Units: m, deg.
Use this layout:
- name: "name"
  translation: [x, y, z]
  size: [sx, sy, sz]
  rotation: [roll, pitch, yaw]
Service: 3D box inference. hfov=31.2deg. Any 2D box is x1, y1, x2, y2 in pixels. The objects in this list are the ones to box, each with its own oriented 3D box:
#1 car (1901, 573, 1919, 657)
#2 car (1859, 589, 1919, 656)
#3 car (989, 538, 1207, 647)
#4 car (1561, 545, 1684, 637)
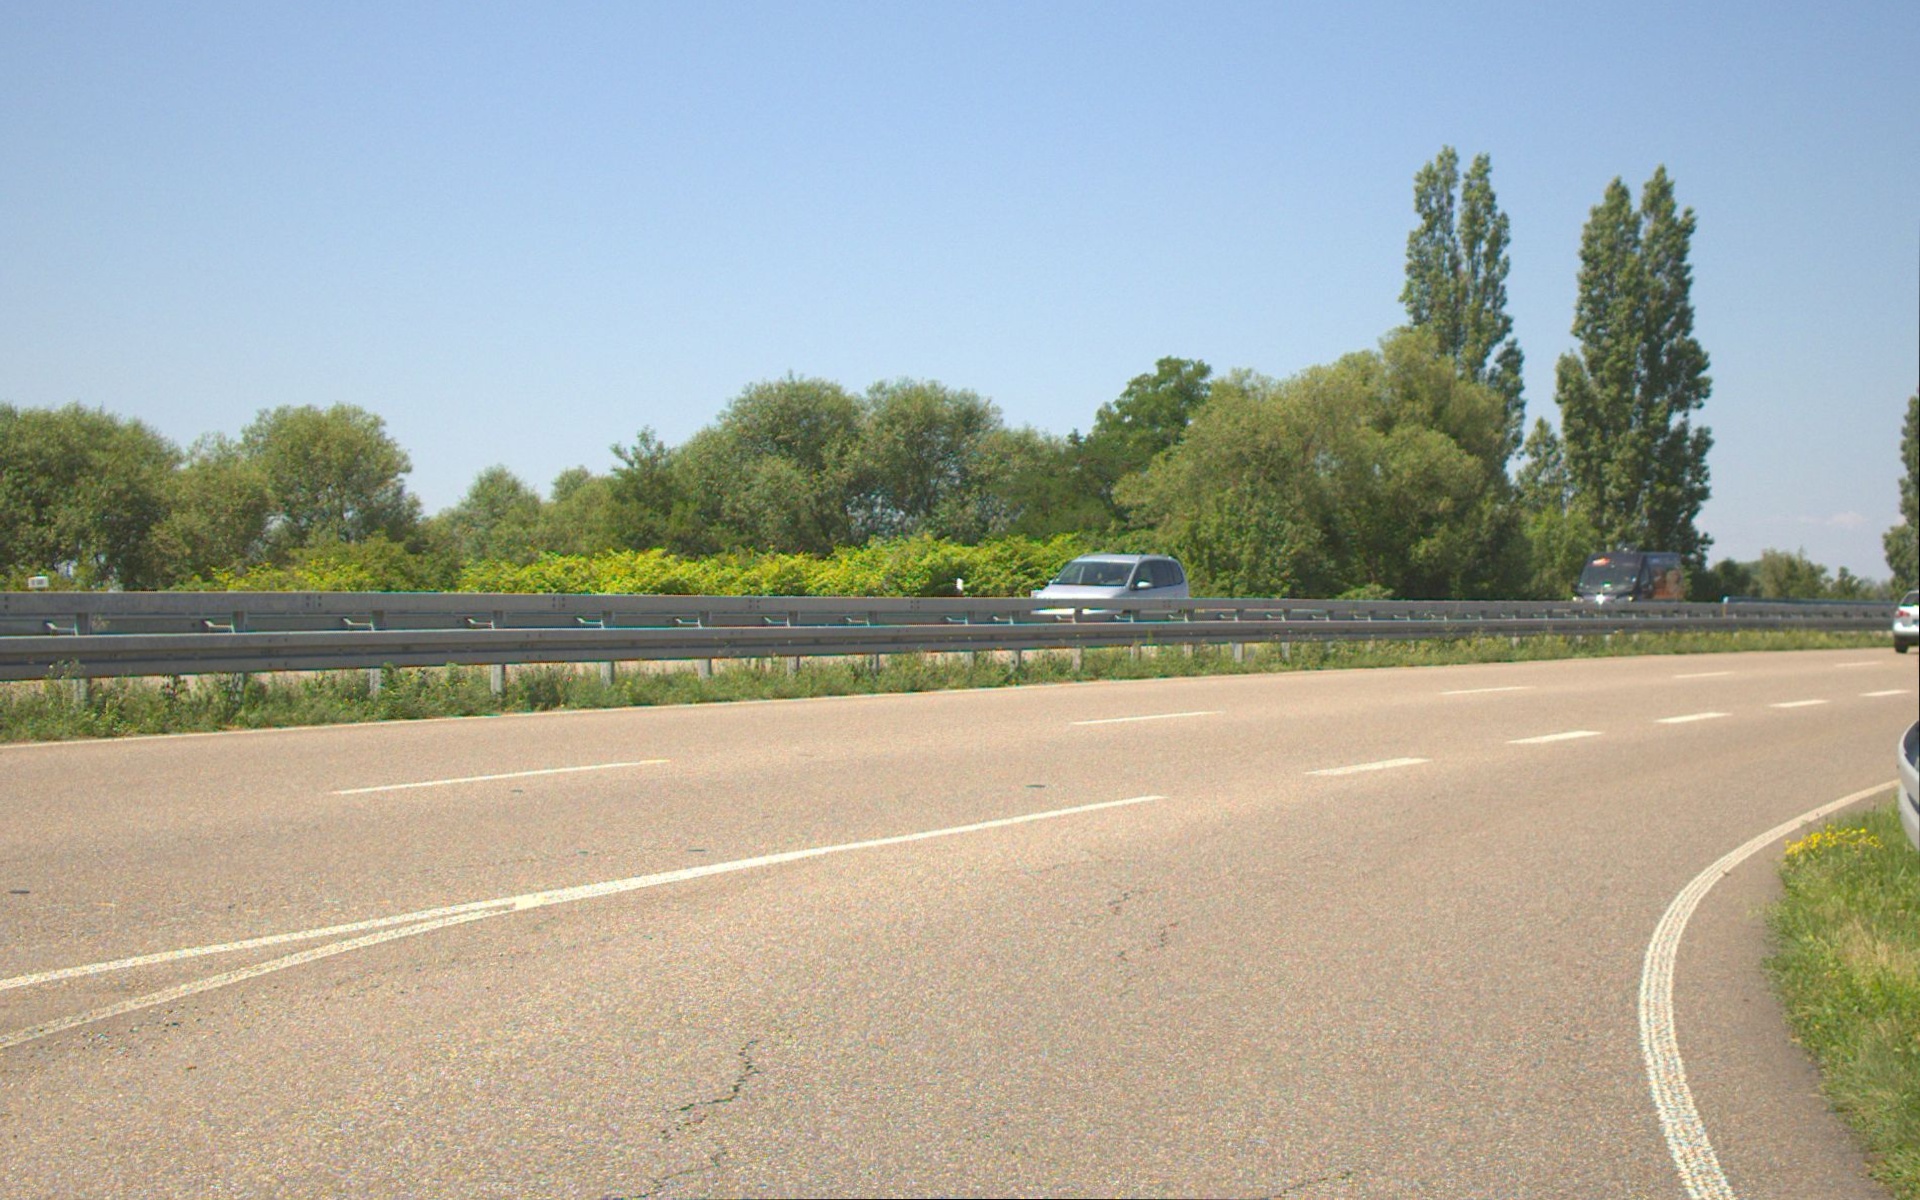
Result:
- name: "car"
  translation: [18.230, 0.282, 61.269]
  size: [1.844, 1.459, 3.993]
  rotation: [2, 1, 30]
- name: "car"
  translation: [22.010, 0.498, 78.577]
  size: [1.844, 1.446, 3.993]
  rotation: [2, 1, 29]
- name: "car"
  translation: [2.601, -0.113, 63.456]
  size: [2.207, 1.886, 4.905]
  rotation: [1, -1, 26]
- name: "car"
  translation: [20.116, -0.258, 104.205]
  size: [2.207, 2.629, 5.617]
  rotation: [1, -1, 26]
